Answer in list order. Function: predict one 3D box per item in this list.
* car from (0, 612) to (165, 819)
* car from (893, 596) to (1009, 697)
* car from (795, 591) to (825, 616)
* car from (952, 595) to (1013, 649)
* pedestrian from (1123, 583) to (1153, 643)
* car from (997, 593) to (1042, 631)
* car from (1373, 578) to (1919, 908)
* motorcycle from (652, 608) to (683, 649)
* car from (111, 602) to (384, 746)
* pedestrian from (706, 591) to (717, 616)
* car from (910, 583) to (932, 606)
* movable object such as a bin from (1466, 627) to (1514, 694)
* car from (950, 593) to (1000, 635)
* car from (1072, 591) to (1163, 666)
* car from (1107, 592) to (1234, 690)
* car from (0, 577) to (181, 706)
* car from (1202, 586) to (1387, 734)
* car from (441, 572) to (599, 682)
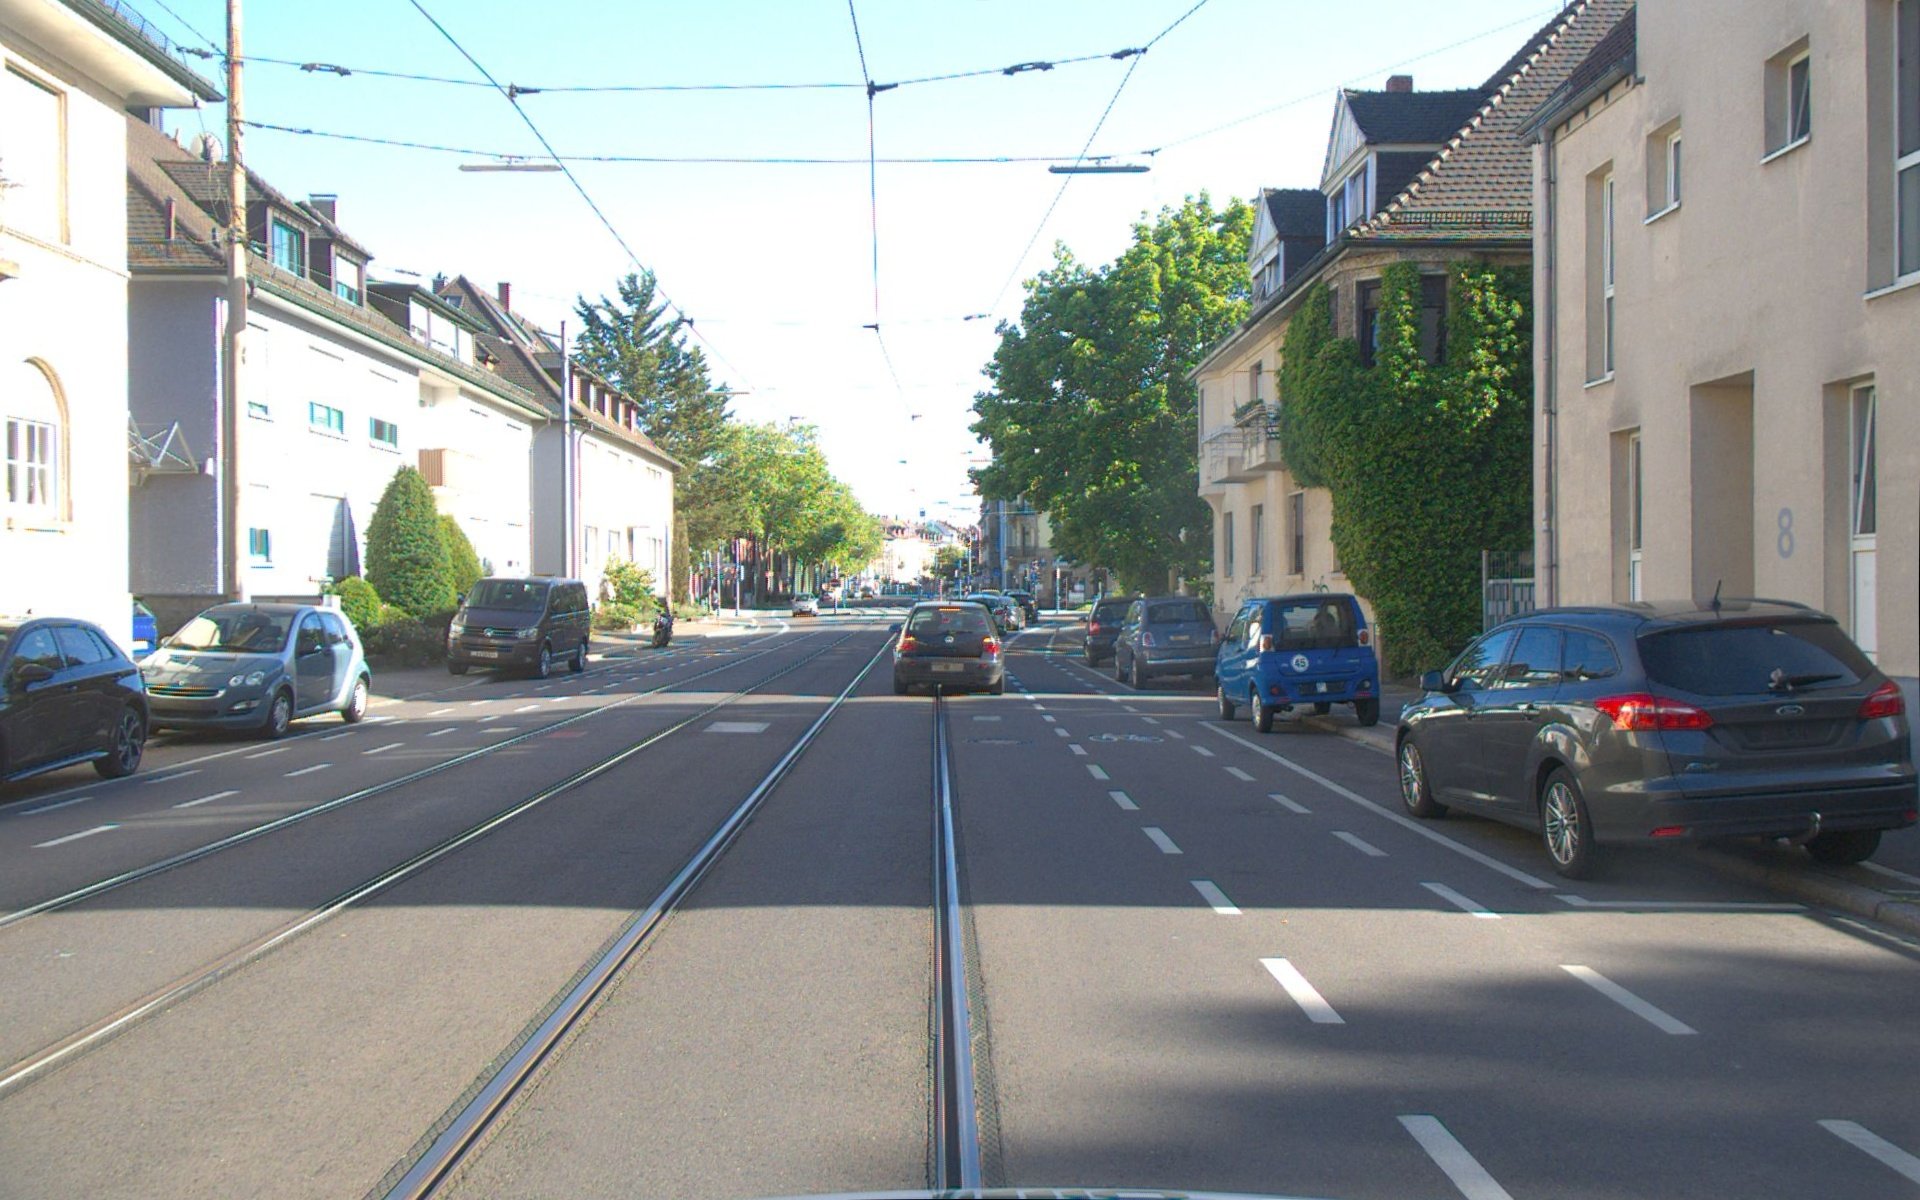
[{"bbox_3d":[-8.083,0.887,13.274,1.630,1.503,4.246,0,0,-5],"label":"car"},{"bbox_3d":[-0.160,0.676,26.252,1.681,1.427,4.005,1,0,-1],"label":"car"},{"bbox_3d":[-9.126,0.202,100.814,1.543,1.503,3.440,-1,0,-2],"label":"car"},{"bbox_3d":[0.604,0.587,45.854,1.601,1.396,3.757,-1,0,0],"label":"car"},{"bbox_3d":[5.227,0.370,48.628,0.703,1.717,0.870,-2,0,-2],"label":"pedestrian"},{"bbox_3d":[2.421,0.485,68.260,1.538,1.334,3.646,-1,3,-3],"label":"car"},{"bbox_3d":[4.130,0.701,10.477,1.709,1.627,4.431,1,0,-3],"label":"car"},{"bbox_3d":[-8.757,0.845,49.652,0.525,1.182,2.171,-2,0,-1],"label":"motorcycle"},{"bbox_3d":[-8.423,0.810,19.918,1.642,1.503,3.834,1,0,-1],"label":"car"},{"bbox_3d":[-17.702,0.266,118.010,0.600,1.719,0.729,2,0,-19],"label":"pedestrian"},{"bbox_3d":[-3.418,-0.459,142.778,1.751,1.892,3.998,2,0,-3],"label":"car"},{"bbox_3d":[7.593,0.866,23.709,0.483,0.932,0.514,-1,0,-3],"label":"movable object such as a bin"},{"bbox_3d":[0.511,0.487,60.202,1.704,1.466,3.809,0,0,-1],"label":"car"},{"bbox_3d":[3.506,0.605,37.322,1.632,1.591,3.770,1,0,-1],"label":"car"},{"bbox_3d":[3.604,0.663,28.821,1.569,1.552,3.547,1,0,-3],"label":"car"},{"bbox_3d":[-13.867,0.607,24.421,3.846,1.814,1.754,-1,0,-3],"label":"car"},{"bbox_3d":[3.986,0.657,20.145,1.428,1.627,3.292,1,0,-3],"label":"car"},{"bbox_3d":[-8.906,0.494,33.945,1.867,2.049,4.949,1,0,0],"label":"car"}]
